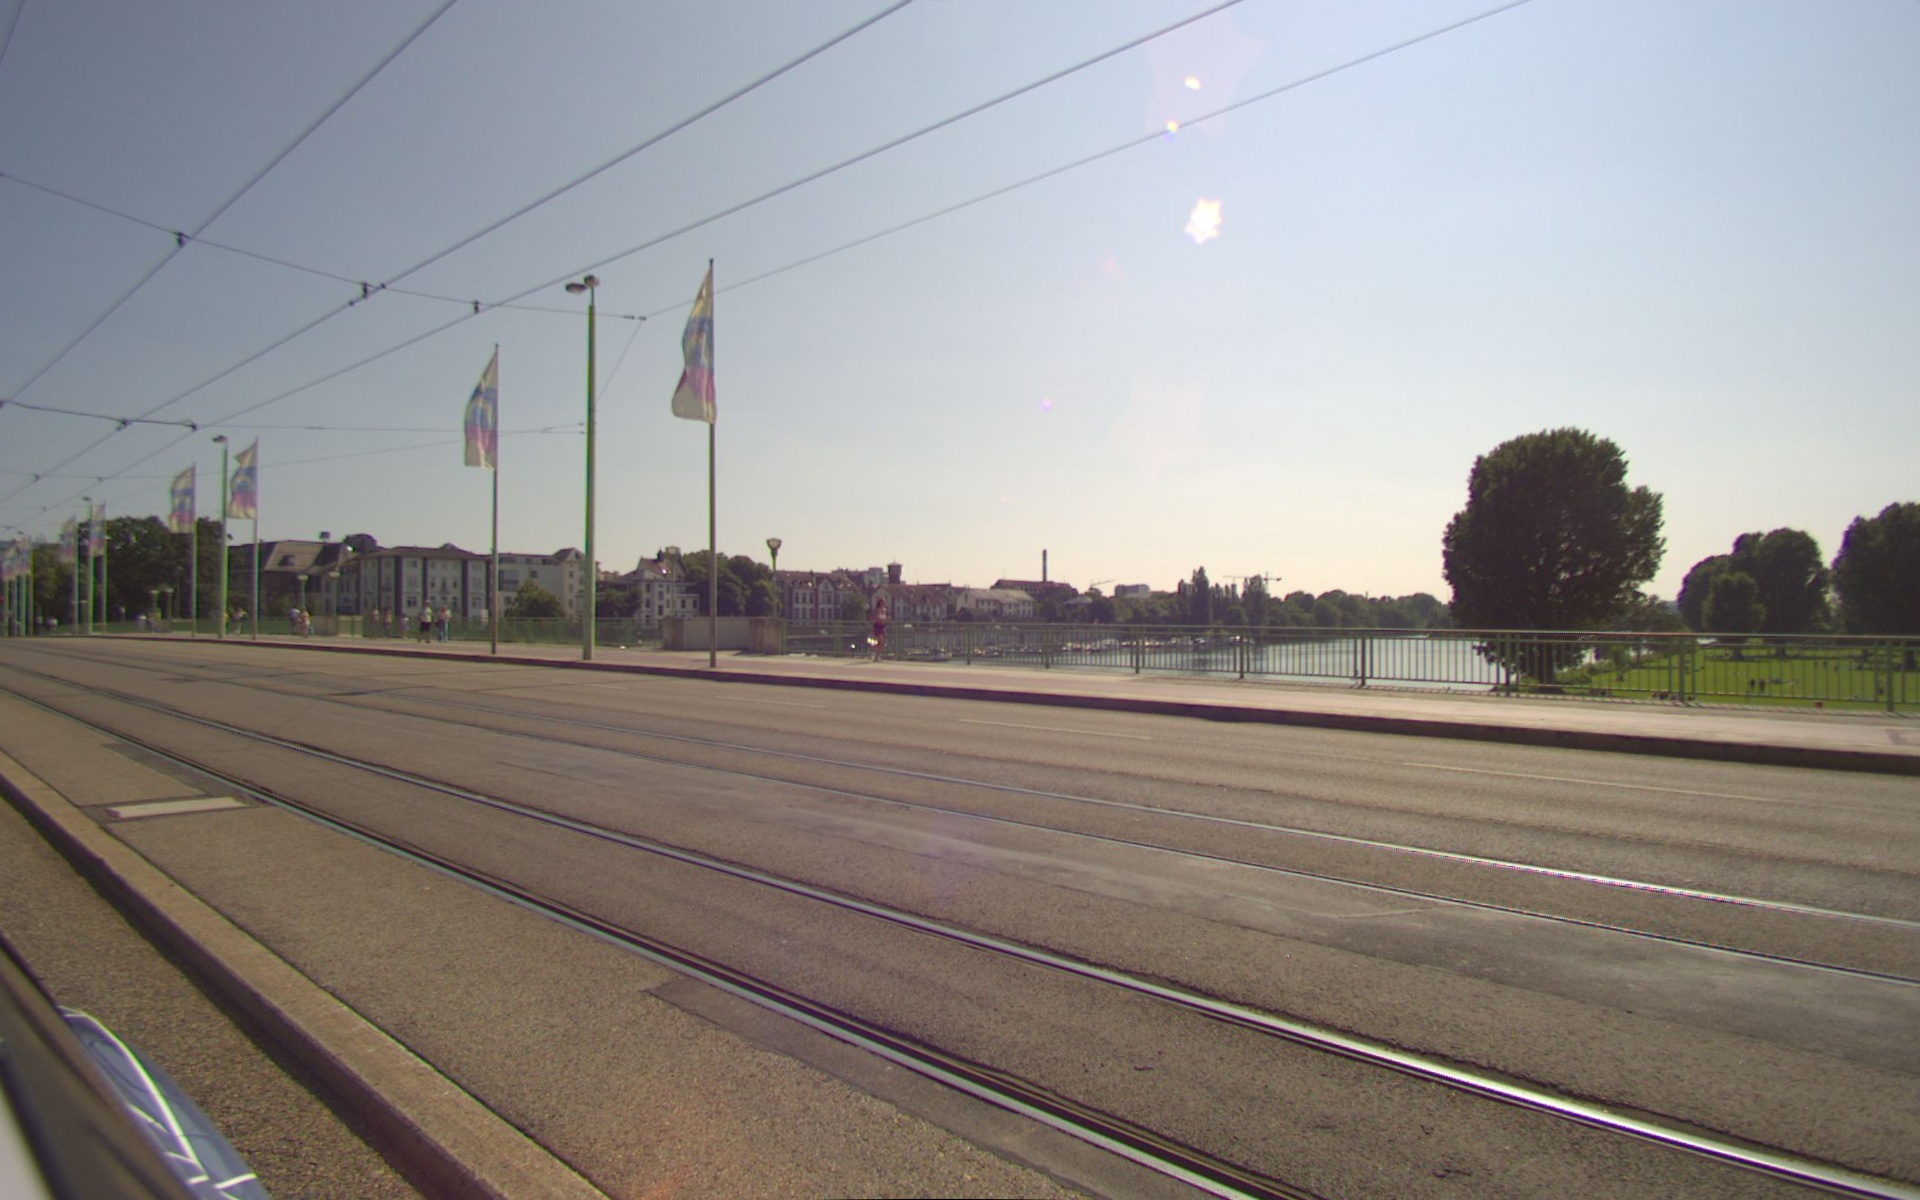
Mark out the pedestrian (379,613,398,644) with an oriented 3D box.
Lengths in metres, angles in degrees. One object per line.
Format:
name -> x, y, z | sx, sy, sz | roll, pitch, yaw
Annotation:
pedestrian -> -27.337, 1.351, 48.428 | 0.788, 1.448, 0.540 | -1, 1, 41

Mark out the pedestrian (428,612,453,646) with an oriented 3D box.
pedestrian -> -22.240, 1.241, 43.320 | 1.022, 1.425, 0.584 | -1, 1, 41

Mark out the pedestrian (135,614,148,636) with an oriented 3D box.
pedestrian -> -66.639, 2.037, 82.397 | 0.904, 1.712, 0.584 | -1, 3, 41

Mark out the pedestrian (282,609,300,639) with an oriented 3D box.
pedestrian -> -38.195, 1.373, 57.782 | 1.022, 1.712, 0.584 | -1, 1, 41

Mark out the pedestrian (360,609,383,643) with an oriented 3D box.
pedestrian -> -27.894, 1.228, 47.990 | 1.022, 1.611, 0.619 | -1, 1, 41

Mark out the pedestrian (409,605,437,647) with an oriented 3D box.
pedestrian -> -22.710, 1.091, 42.804 | 1.022, 1.712, 0.663 | -1, 1, 41

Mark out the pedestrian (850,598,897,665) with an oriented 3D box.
pedestrian -> -2.286, 0.821, 26.699 | 1.022, 1.703, 0.677 | -1, 1, 41

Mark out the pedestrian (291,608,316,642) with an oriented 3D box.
pedestrian -> -34.322, 1.308, 52.922 | 1.022, 1.712, 0.777 | -1, 1, 41

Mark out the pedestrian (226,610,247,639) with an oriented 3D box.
pedestrian -> -43.976, 1.503, 61.540 | 1.022, 1.712, 0.777 | -1, 1, 41
